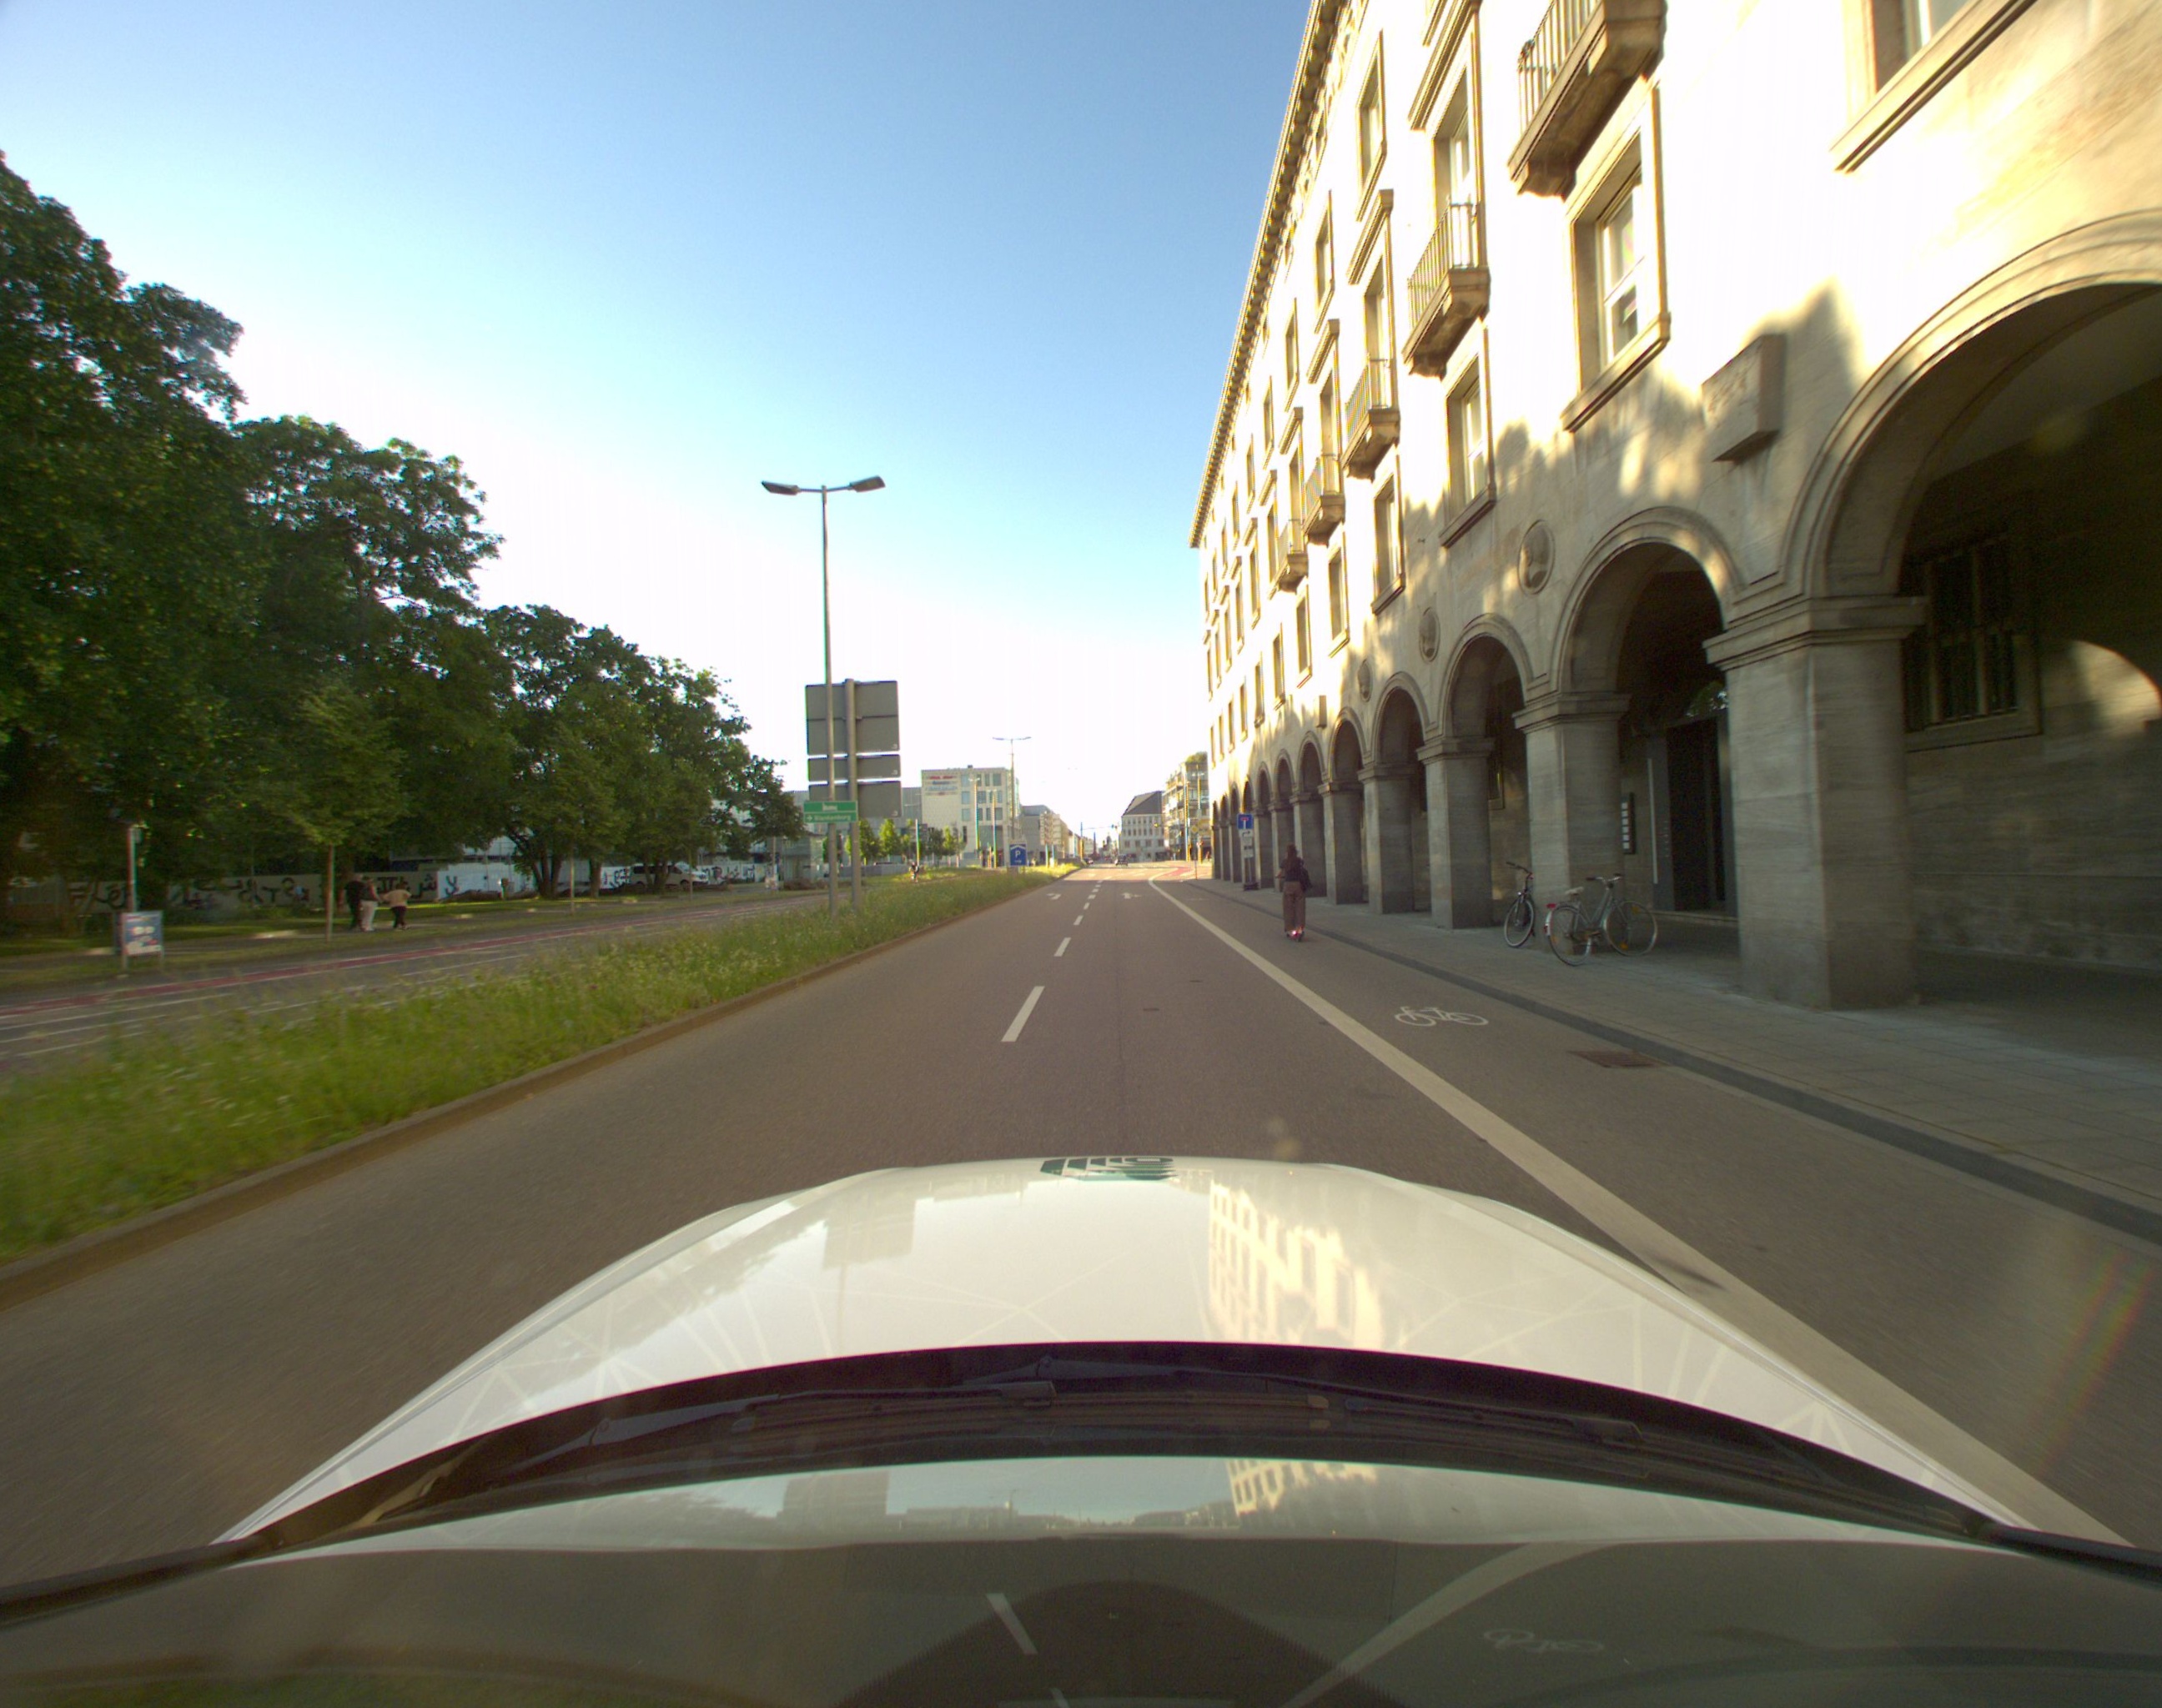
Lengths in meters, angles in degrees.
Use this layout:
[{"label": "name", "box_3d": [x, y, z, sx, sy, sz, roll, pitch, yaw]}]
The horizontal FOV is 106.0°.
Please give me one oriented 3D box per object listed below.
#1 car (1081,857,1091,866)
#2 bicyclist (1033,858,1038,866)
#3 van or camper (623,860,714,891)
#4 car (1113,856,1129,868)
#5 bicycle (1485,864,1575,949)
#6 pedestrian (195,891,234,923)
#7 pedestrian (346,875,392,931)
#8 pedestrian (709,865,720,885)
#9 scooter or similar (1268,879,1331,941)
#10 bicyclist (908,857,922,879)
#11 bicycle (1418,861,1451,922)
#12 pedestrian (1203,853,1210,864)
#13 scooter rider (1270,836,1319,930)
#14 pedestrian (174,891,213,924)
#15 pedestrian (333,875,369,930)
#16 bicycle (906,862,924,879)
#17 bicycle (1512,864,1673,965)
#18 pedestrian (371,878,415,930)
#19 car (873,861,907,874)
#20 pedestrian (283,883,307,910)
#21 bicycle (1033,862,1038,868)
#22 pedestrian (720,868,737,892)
[{"label": "car", "box_3d": [1.206, 1.706, 178.760, 1.985, 1.742, 4.649, -2, 1, 3]}, {"label": "bicyclist", "box_3d": [-8.011, 1.410, 143.457, 0.604, 1.489, 0.682, -2, 0, 8]}, {"label": "van or camper", "box_3d": [-30.604, 1.643, 60.541, 5.638, 2.014, 2.259, -3, -2, 3]}, {"label": "car", "box_3d": [5.313, 1.081, 108.290, 1.772, 1.564, 3.785, -2, 0, -3]}, {"label": "bicycle", "box_3d": [6.457, 0.720, 11.667, 1.723, 1.050, 0.604, -3, -1, -45]}, {"label": "pedestrian", "box_3d": [-42.900, 2.612, 40.328, 0.900, 1.540, 0.893, -2, -1, -5]}, {"label": "pedestrian", "box_3d": [-22.992, 1.559, 26.317, 0.767, 1.740, 0.762, -2, -1, 6]}, {"label": "pedestrian", "box_3d": [-32.283, 1.857, 71.765, 0.577, 1.688, 0.836, -2, 0, 1]}, {"label": "scooter or similar", "box_3d": [3.907, 0.989, 14.627, 0.556, 1.031, 1.111, -2, -1, -16]}, {"label": "bicyclist", "box_3d": [-12.732, 1.088, 62.544, 0.744, 1.590, 1.203, -3, -2, 4]}, {"label": "bicycle", "box_3d": [6.794, 0.700, 15.701, 0.466, 1.050, 1.722, -4, -1, 21]}, {"label": "pedestrian", "box_3d": [19.287, 0.673, 124.976, 0.814, 1.748, 1.047, -3, -1, 24]}, {"label": "scooter rider", "box_3d": [3.866, 0.516, 14.760, 0.562, 1.632, 0.646, -2, -1, -16]}, {"label": "pedestrian", "box_3d": [-42.876, 2.574, 39.358, 0.900, 1.540, 0.893, -2, -1, -5]}, {"label": "pedestrian", "box_3d": [-23.680, 1.574, 26.440, 0.521, 1.740, 0.656, -2, -1, 6]}, {"label": "bicycle", "box_3d": [-12.733, 1.294, 62.512, 0.755, 1.275, 2.259, -3, -2, 3]}, {"label": "bicycle", "box_3d": [6.111, 0.702, 9.747, 1.709, 1.050, 0.525, -3, -1, -13]}, {"label": "pedestrian", "box_3d": [-22.142, 1.600, 26.224, 0.738, 1.641, 0.727, -2, -1, 6]}, {"label": "car", "box_3d": [-28.825, 2.046, 122.852, 4.632, 1.810, 1.868, -2, -2, -5]}, {"label": "pedestrian", "box_3d": [-48.961, 2.618, 50.712, 0.720, 1.641, 0.746, -2, -1, 8]}, {"label": "bicycle", "box_3d": [-8.011, 1.922, 143.376, 0.608, 0.861, 1.955, -2, 0, 8]}, {"label": "pedestrian", "box_3d": [-23.084, 1.680, 53.341, 0.609, 1.527, 0.944, -2, 0, 8]}]
